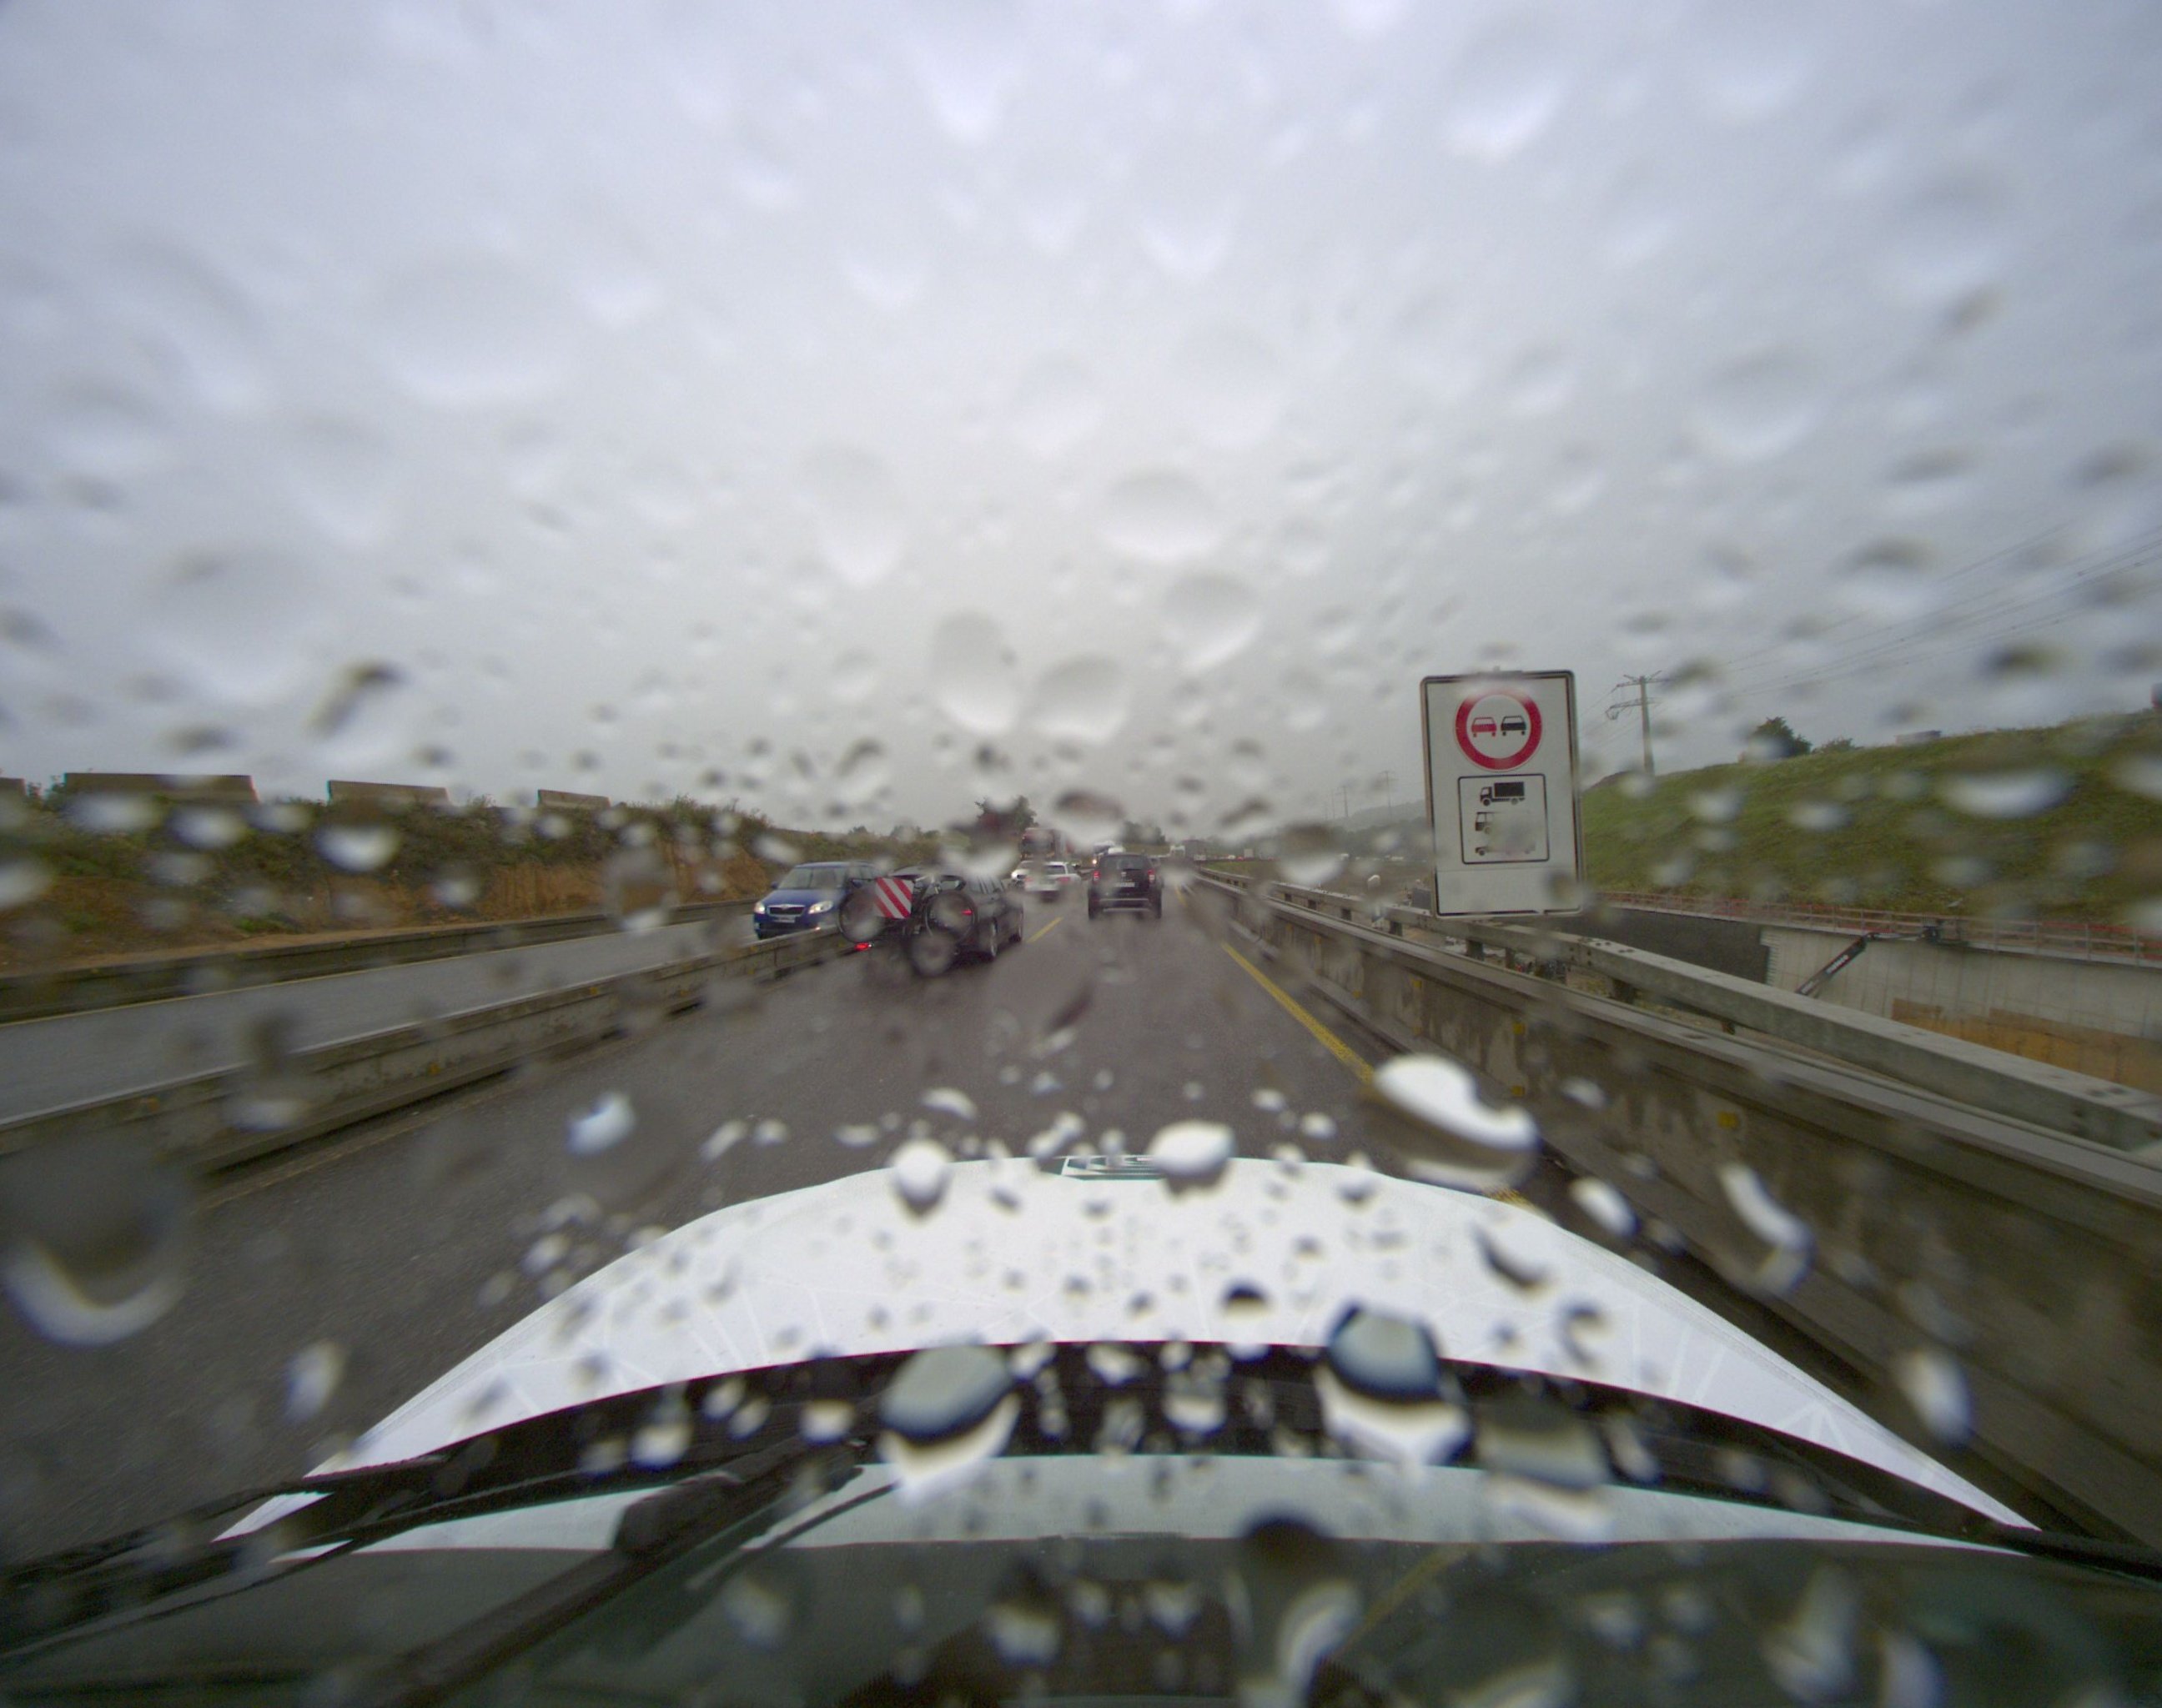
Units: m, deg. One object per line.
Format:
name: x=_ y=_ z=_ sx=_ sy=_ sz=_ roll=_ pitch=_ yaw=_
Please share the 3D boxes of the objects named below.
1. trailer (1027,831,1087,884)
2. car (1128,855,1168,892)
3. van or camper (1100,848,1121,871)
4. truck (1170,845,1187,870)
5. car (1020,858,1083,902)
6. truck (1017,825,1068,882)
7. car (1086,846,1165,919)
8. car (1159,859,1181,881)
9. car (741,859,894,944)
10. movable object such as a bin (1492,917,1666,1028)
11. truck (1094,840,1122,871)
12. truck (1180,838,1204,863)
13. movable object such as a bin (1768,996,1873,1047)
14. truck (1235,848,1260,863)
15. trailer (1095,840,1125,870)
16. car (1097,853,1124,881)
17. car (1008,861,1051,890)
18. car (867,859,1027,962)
trailer: x=-2.037 y=0.290 z=77.934 sx=2.979 sy=4.421 sz=15.736 roll=-3 pitch=0 yaw=8
car: x=3.333 y=0.950 z=40.917 sx=1.859 sy=1.708 sz=4.004 roll=-1 pitch=0 yaw=4
van or camper: x=3.502 y=0.665 z=94.940 sx=2.269 sy=2.614 sz=5.832 roll=-1 pitch=0 yaw=3
truck: x=12.607 y=0.470 z=105.635 sx=2.138 sy=3.166 sz=6.471 roll=-1 pitch=0 yaw=7
car: x=-1.006 y=0.900 z=30.017 sx=1.859 sy=1.460 sz=4.553 roll=-1 pitch=0 yaw=4
truck: x=-3.196 y=-0.048 z=69.378 sx=2.964 sy=4.409 sz=6.945 roll=-3 pitch=0 yaw=7
car: x=1.050 y=0.694 z=20.874 sx=1.798 sy=1.646 sz=3.775 roll=-2 pitch=-1 yaw=0
car: x=6.728 y=1.175 z=61.450 sx=1.522 sy=1.640 sz=4.021 roll=-1 pitch=0 yaw=8
car: x=-5.158 y=0.869 z=16.493 sx=1.642 sy=1.502 sz=3.832 roll=-1 pitch=0 yaw=3
movable object such as a bin: x=30.669 y=7.036 z=51.281 sx=4.866 sy=5.671 sz=12.115 roll=0 pitch=-3 yaw=8
truck: x=3.653 y=0.182 z=109.774 sx=3.215 sy=3.956 sz=5.890 roll=-2 pitch=-1 yaw=5
truck: x=17.980 y=-0.508 z=131.120 sx=3.179 sy=3.761 sz=8.537 roll=-1 pitch=0 yaw=12
movable object such as a bin: x=37.698 y=8.509 z=41.636 sx=2.506 sy=1.911 sz=3.259 roll=1 pitch=-1 yaw=2
truck: x=49.742 y=0.498 z=242.496 sx=4.677 sy=4.150 sz=15.762 roll=-1 pitch=0 yaw=21
trailer: x=4.163 y=0.167 z=114.620 sx=3.239 sy=3.964 sz=11.555 roll=-2 pitch=-1 yaw=6
car: x=2.062 y=0.865 z=56.144 sx=1.652 sy=1.880 sz=4.025 roll=-1 pitch=0 yaw=5
car: x=-2.865 y=1.162 z=45.935 sx=1.735 sy=1.502 sz=4.641 roll=-1 pitch=0 yaw=5
car: x=-2.090 y=0.852 z=13.816 sx=1.821 sy=1.476 sz=3.780 roll=-2 pitch=-1 yaw=4
